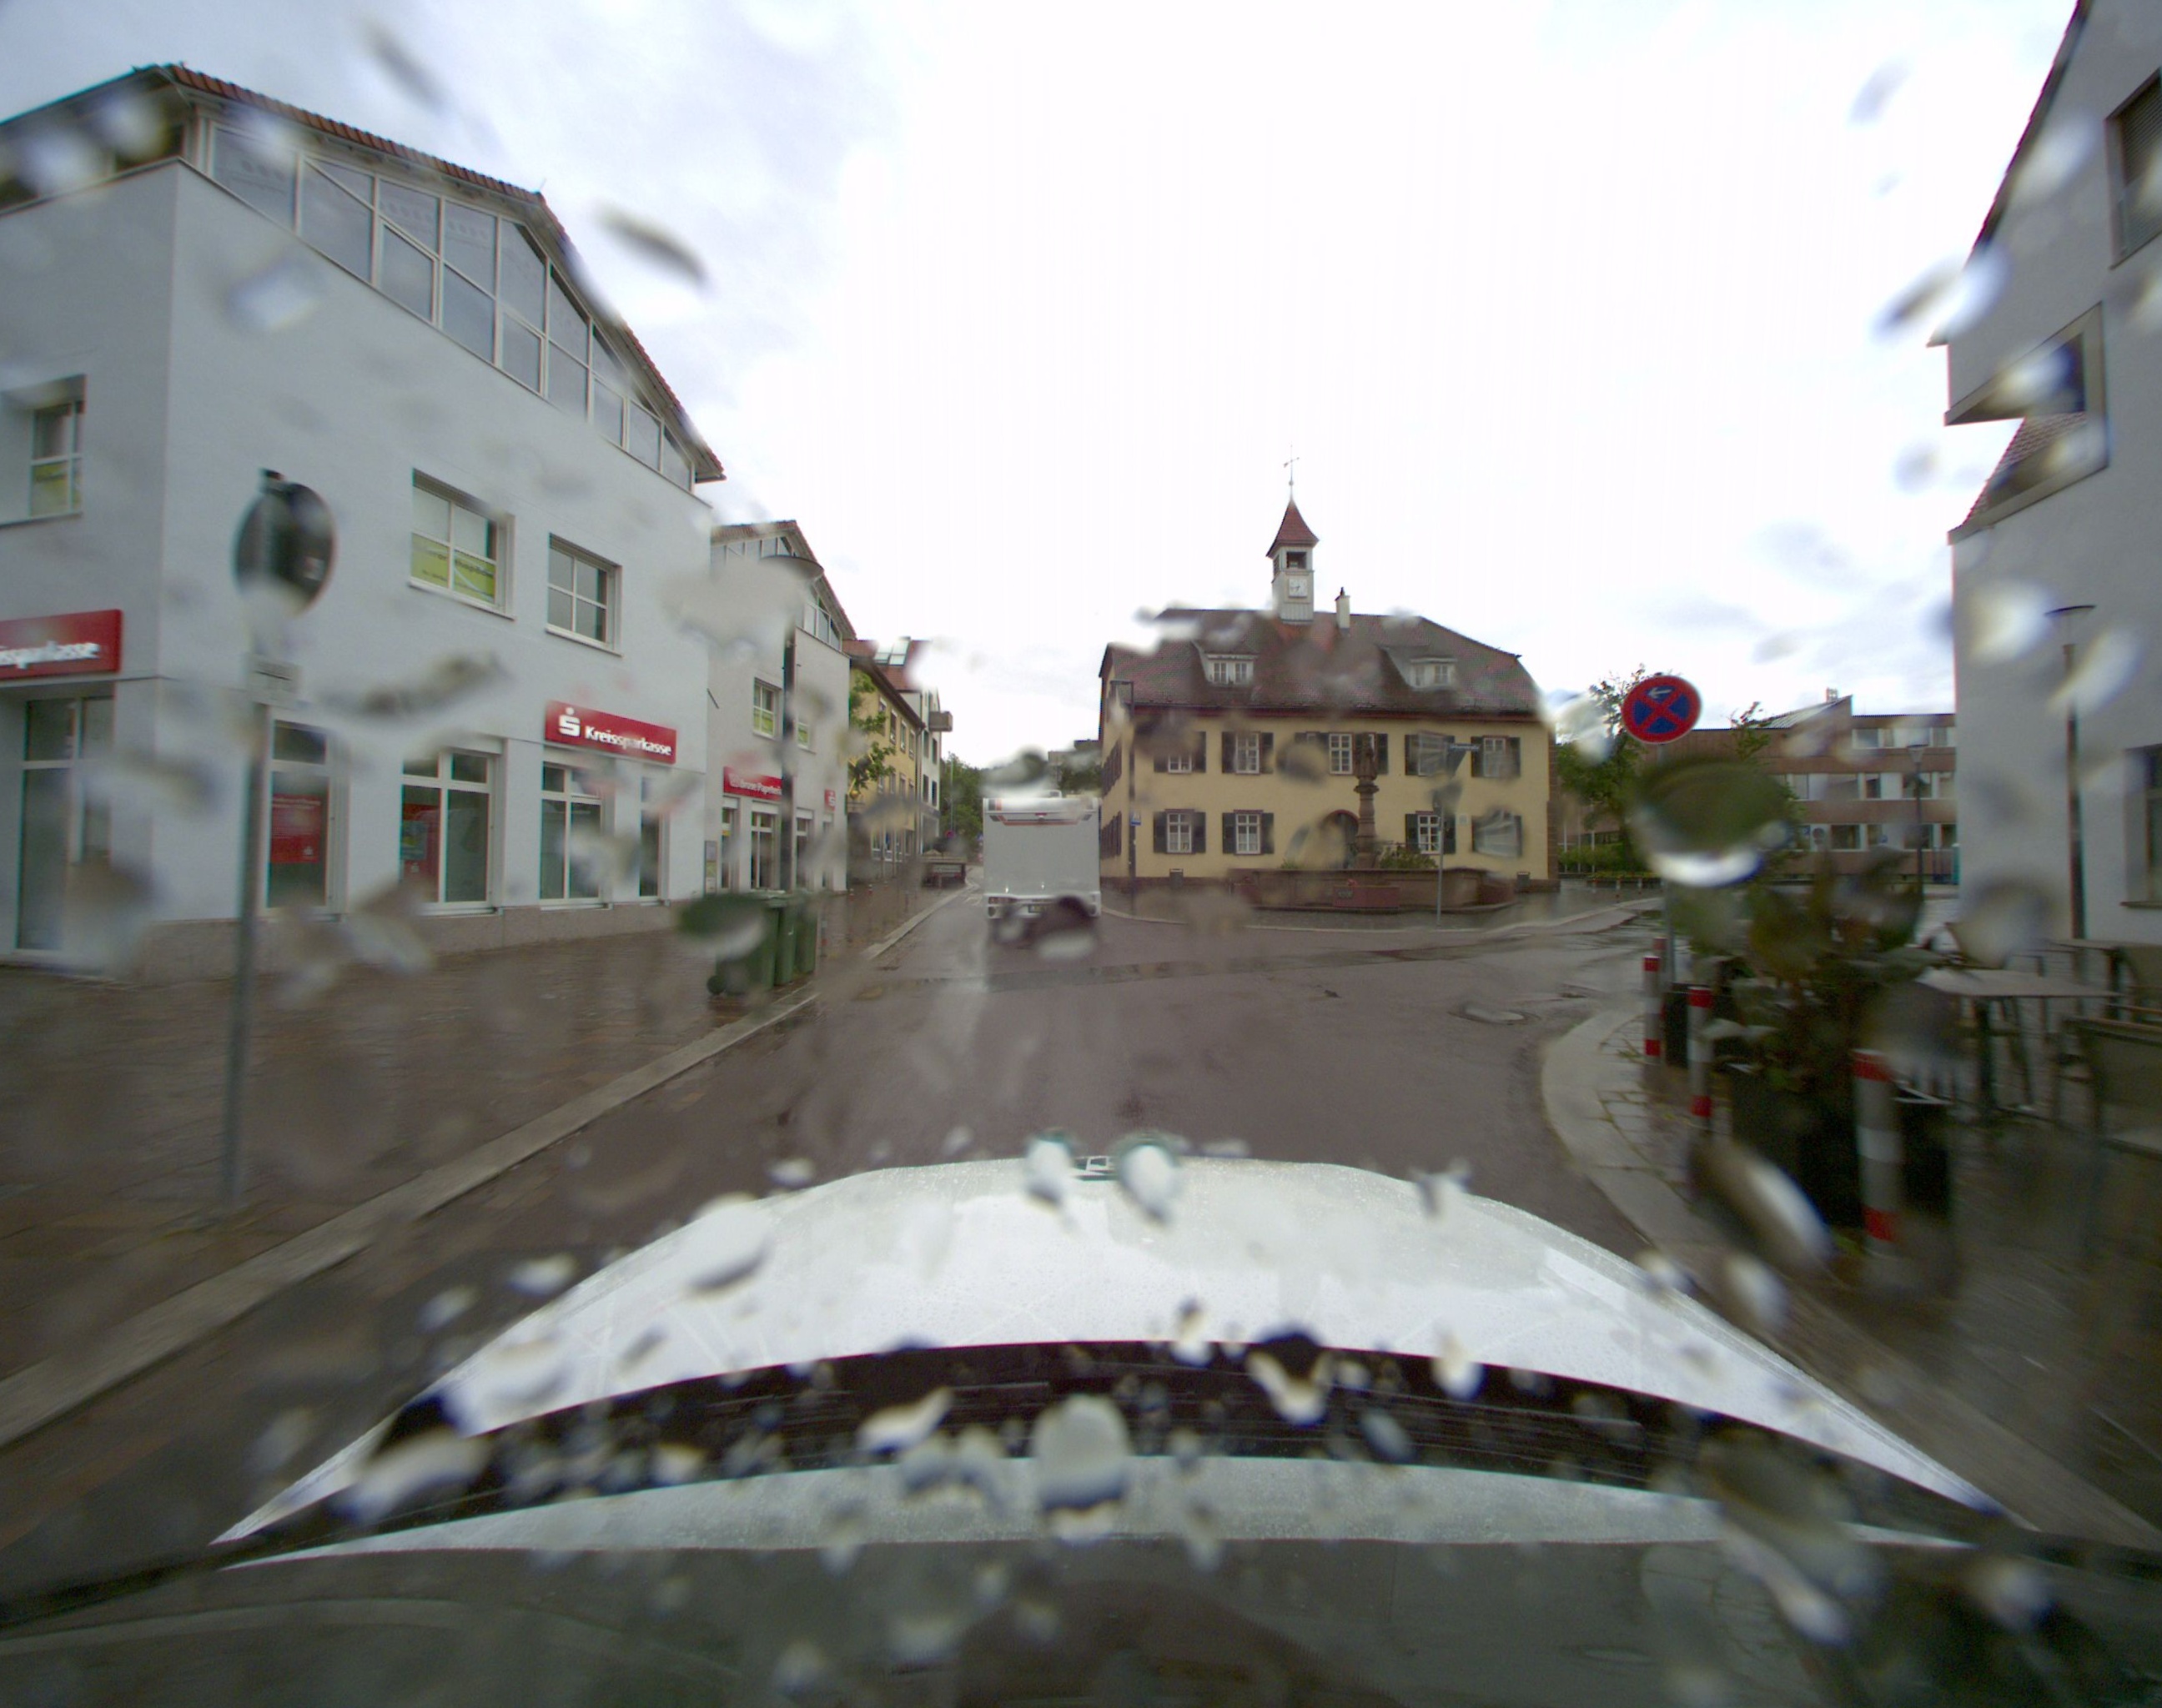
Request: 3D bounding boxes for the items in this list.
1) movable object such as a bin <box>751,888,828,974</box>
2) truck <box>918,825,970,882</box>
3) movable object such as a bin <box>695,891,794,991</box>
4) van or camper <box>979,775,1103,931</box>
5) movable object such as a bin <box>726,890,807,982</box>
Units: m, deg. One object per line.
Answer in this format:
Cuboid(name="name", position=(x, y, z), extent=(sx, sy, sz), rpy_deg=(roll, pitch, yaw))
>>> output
Cuboid(name="movable object such as a bin", position=(-3.763, 0.989, 10.557), extent=(0.763, 1.051, 0.523), rpy_deg=(2, -2, -3))
Cuboid(name="truck", position=(-6.926, 0.049, 41.796), extent=(2.277, 2.758, 5.556), rpy_deg=(0, -2, -6))
Cuboid(name="movable object such as a bin", position=(-3.731, 0.946, 9.089), extent=(0.816, 1.051, 0.699), rpy_deg=(0, -2, -3))
Cuboid(name="van or camper", position=(-0.927, 0.068, 18.515), extent=(2.321, 2.919, 6.384), rpy_deg=(0, -2, -3))
Cuboid(name="movable object such as a bin", position=(-3.743, 0.964, 9.725), extent=(0.763, 1.051, 0.523), rpy_deg=(0, -2, -3))
